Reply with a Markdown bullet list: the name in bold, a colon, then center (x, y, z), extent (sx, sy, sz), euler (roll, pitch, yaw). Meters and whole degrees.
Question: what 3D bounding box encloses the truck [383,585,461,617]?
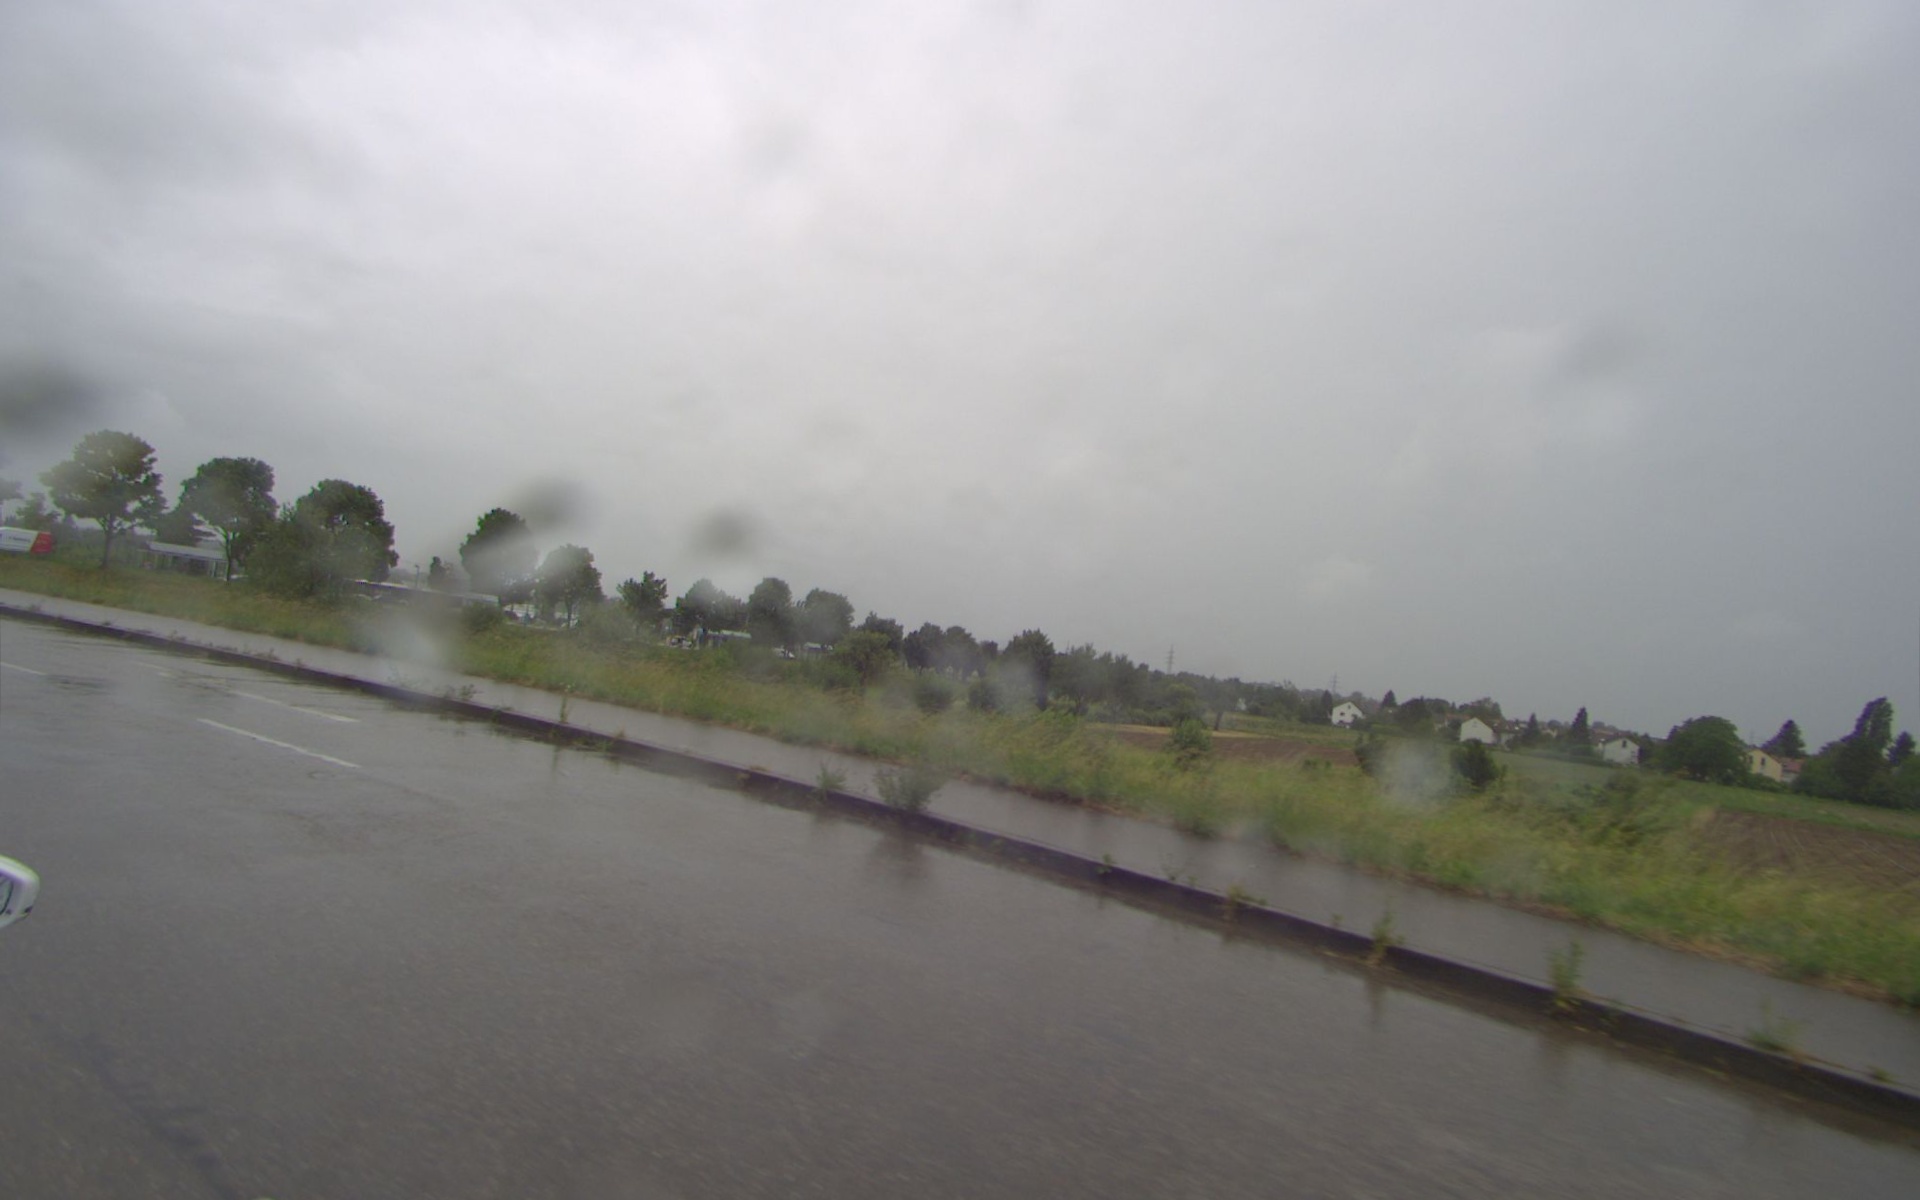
- **truck**: center (-69.790, 0.208, 130.874), extent (2.606, 2.801, 9.369), euler (6, -4, 20)
